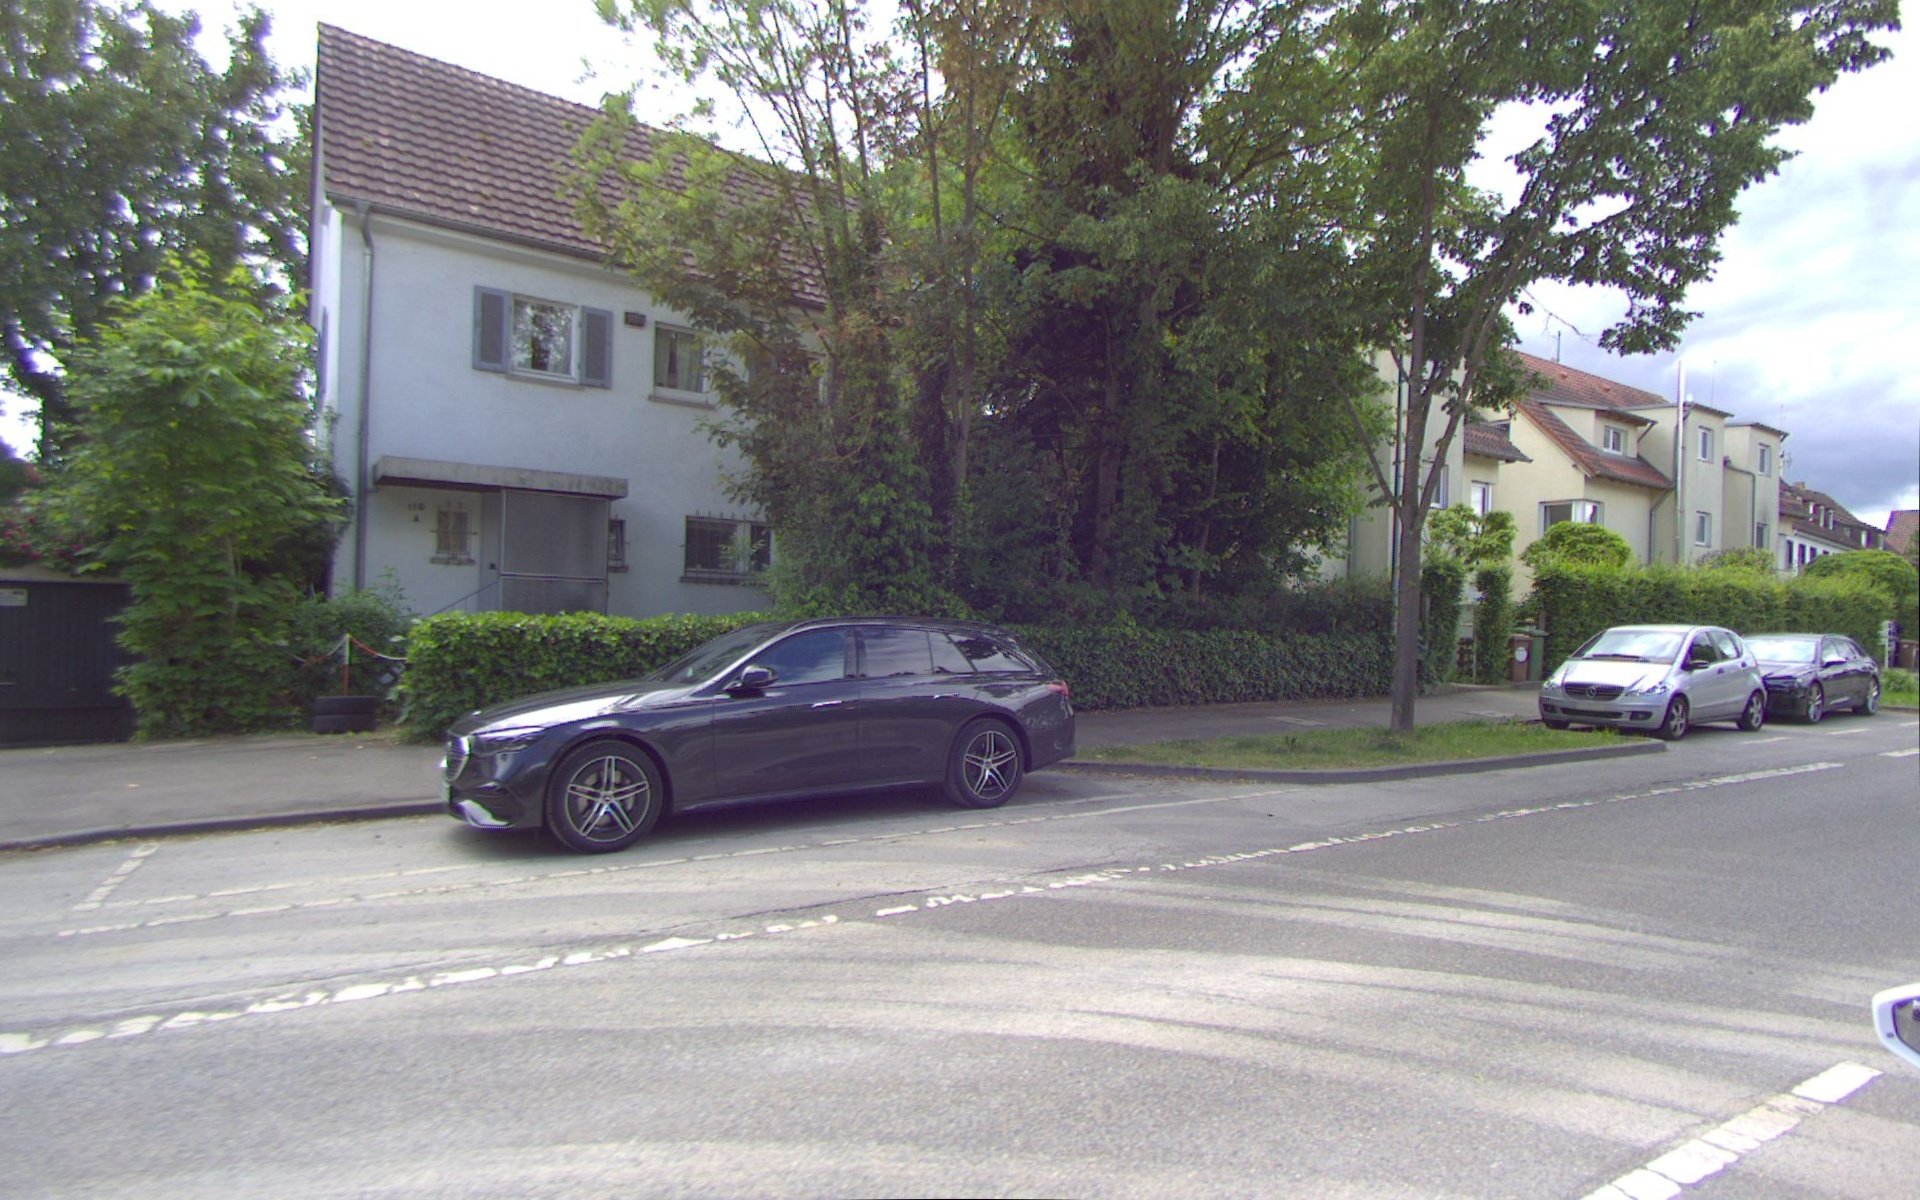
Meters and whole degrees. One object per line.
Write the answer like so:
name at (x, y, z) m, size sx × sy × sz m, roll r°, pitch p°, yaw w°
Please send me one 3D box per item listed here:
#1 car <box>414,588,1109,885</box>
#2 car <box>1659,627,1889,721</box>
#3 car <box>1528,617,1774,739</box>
car at (-1.383, 0.828, 7.912) m, size 4.985 × 1.669 × 2.083 m, roll 1°, pitch -2°, yaw -33°
car at (14.912, 1.269, 18.335) m, size 4.840 × 1.504 × 1.981 m, roll 2°, pitch -2°, yaw -34°
car at (10.542, 1.111, 15.270) m, size 3.867 × 1.634 × 1.709 m, roll 2°, pitch -1°, yaw -32°
